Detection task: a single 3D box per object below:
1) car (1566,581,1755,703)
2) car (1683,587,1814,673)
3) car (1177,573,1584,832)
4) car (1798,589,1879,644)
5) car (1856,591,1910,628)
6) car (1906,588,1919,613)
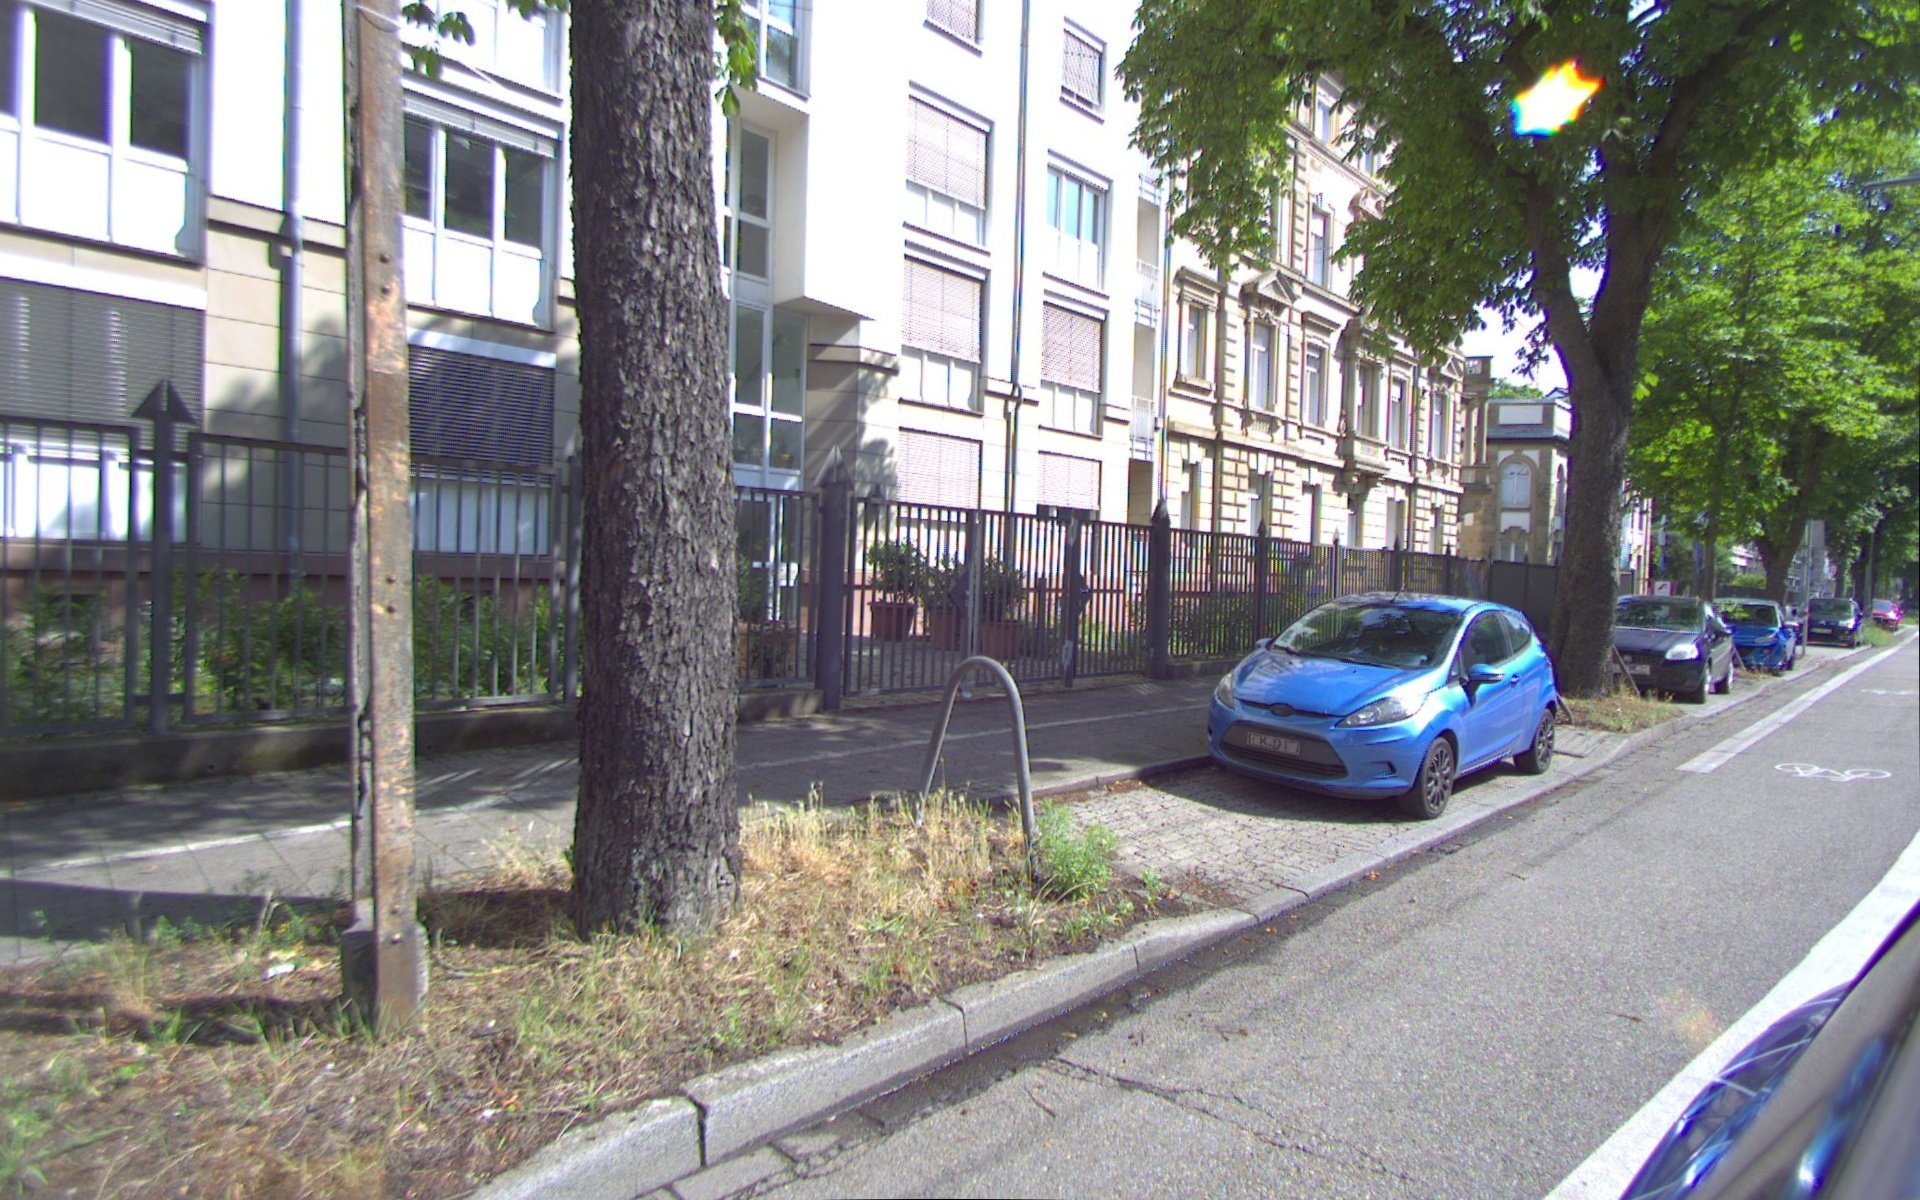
[{"bbox_3d":[10.642,0.543,15.283,1.676,1.493,3.602,7,5,44],"label":"car"},{"bbox_3d":[16.390,0.555,20.979,1.676,1.493,3.602,7,5,44],"label":"car"},{"bbox_3d":[3.487,0.618,8.080,3.601,1.493,1.644,0,5,-44],"label":"car"},{"bbox_3d":[29.407,0.513,33.842,1.741,1.592,3.602,7,5,44],"label":"car"},{"bbox_3d":[45.440,0.438,49.797,1.741,1.592,3.867,7,5,44],"label":"car"},{"bbox_3d":[63.250,0.083,66.282,1.741,1.592,3.867,7,5,44],"label":"car"}]
